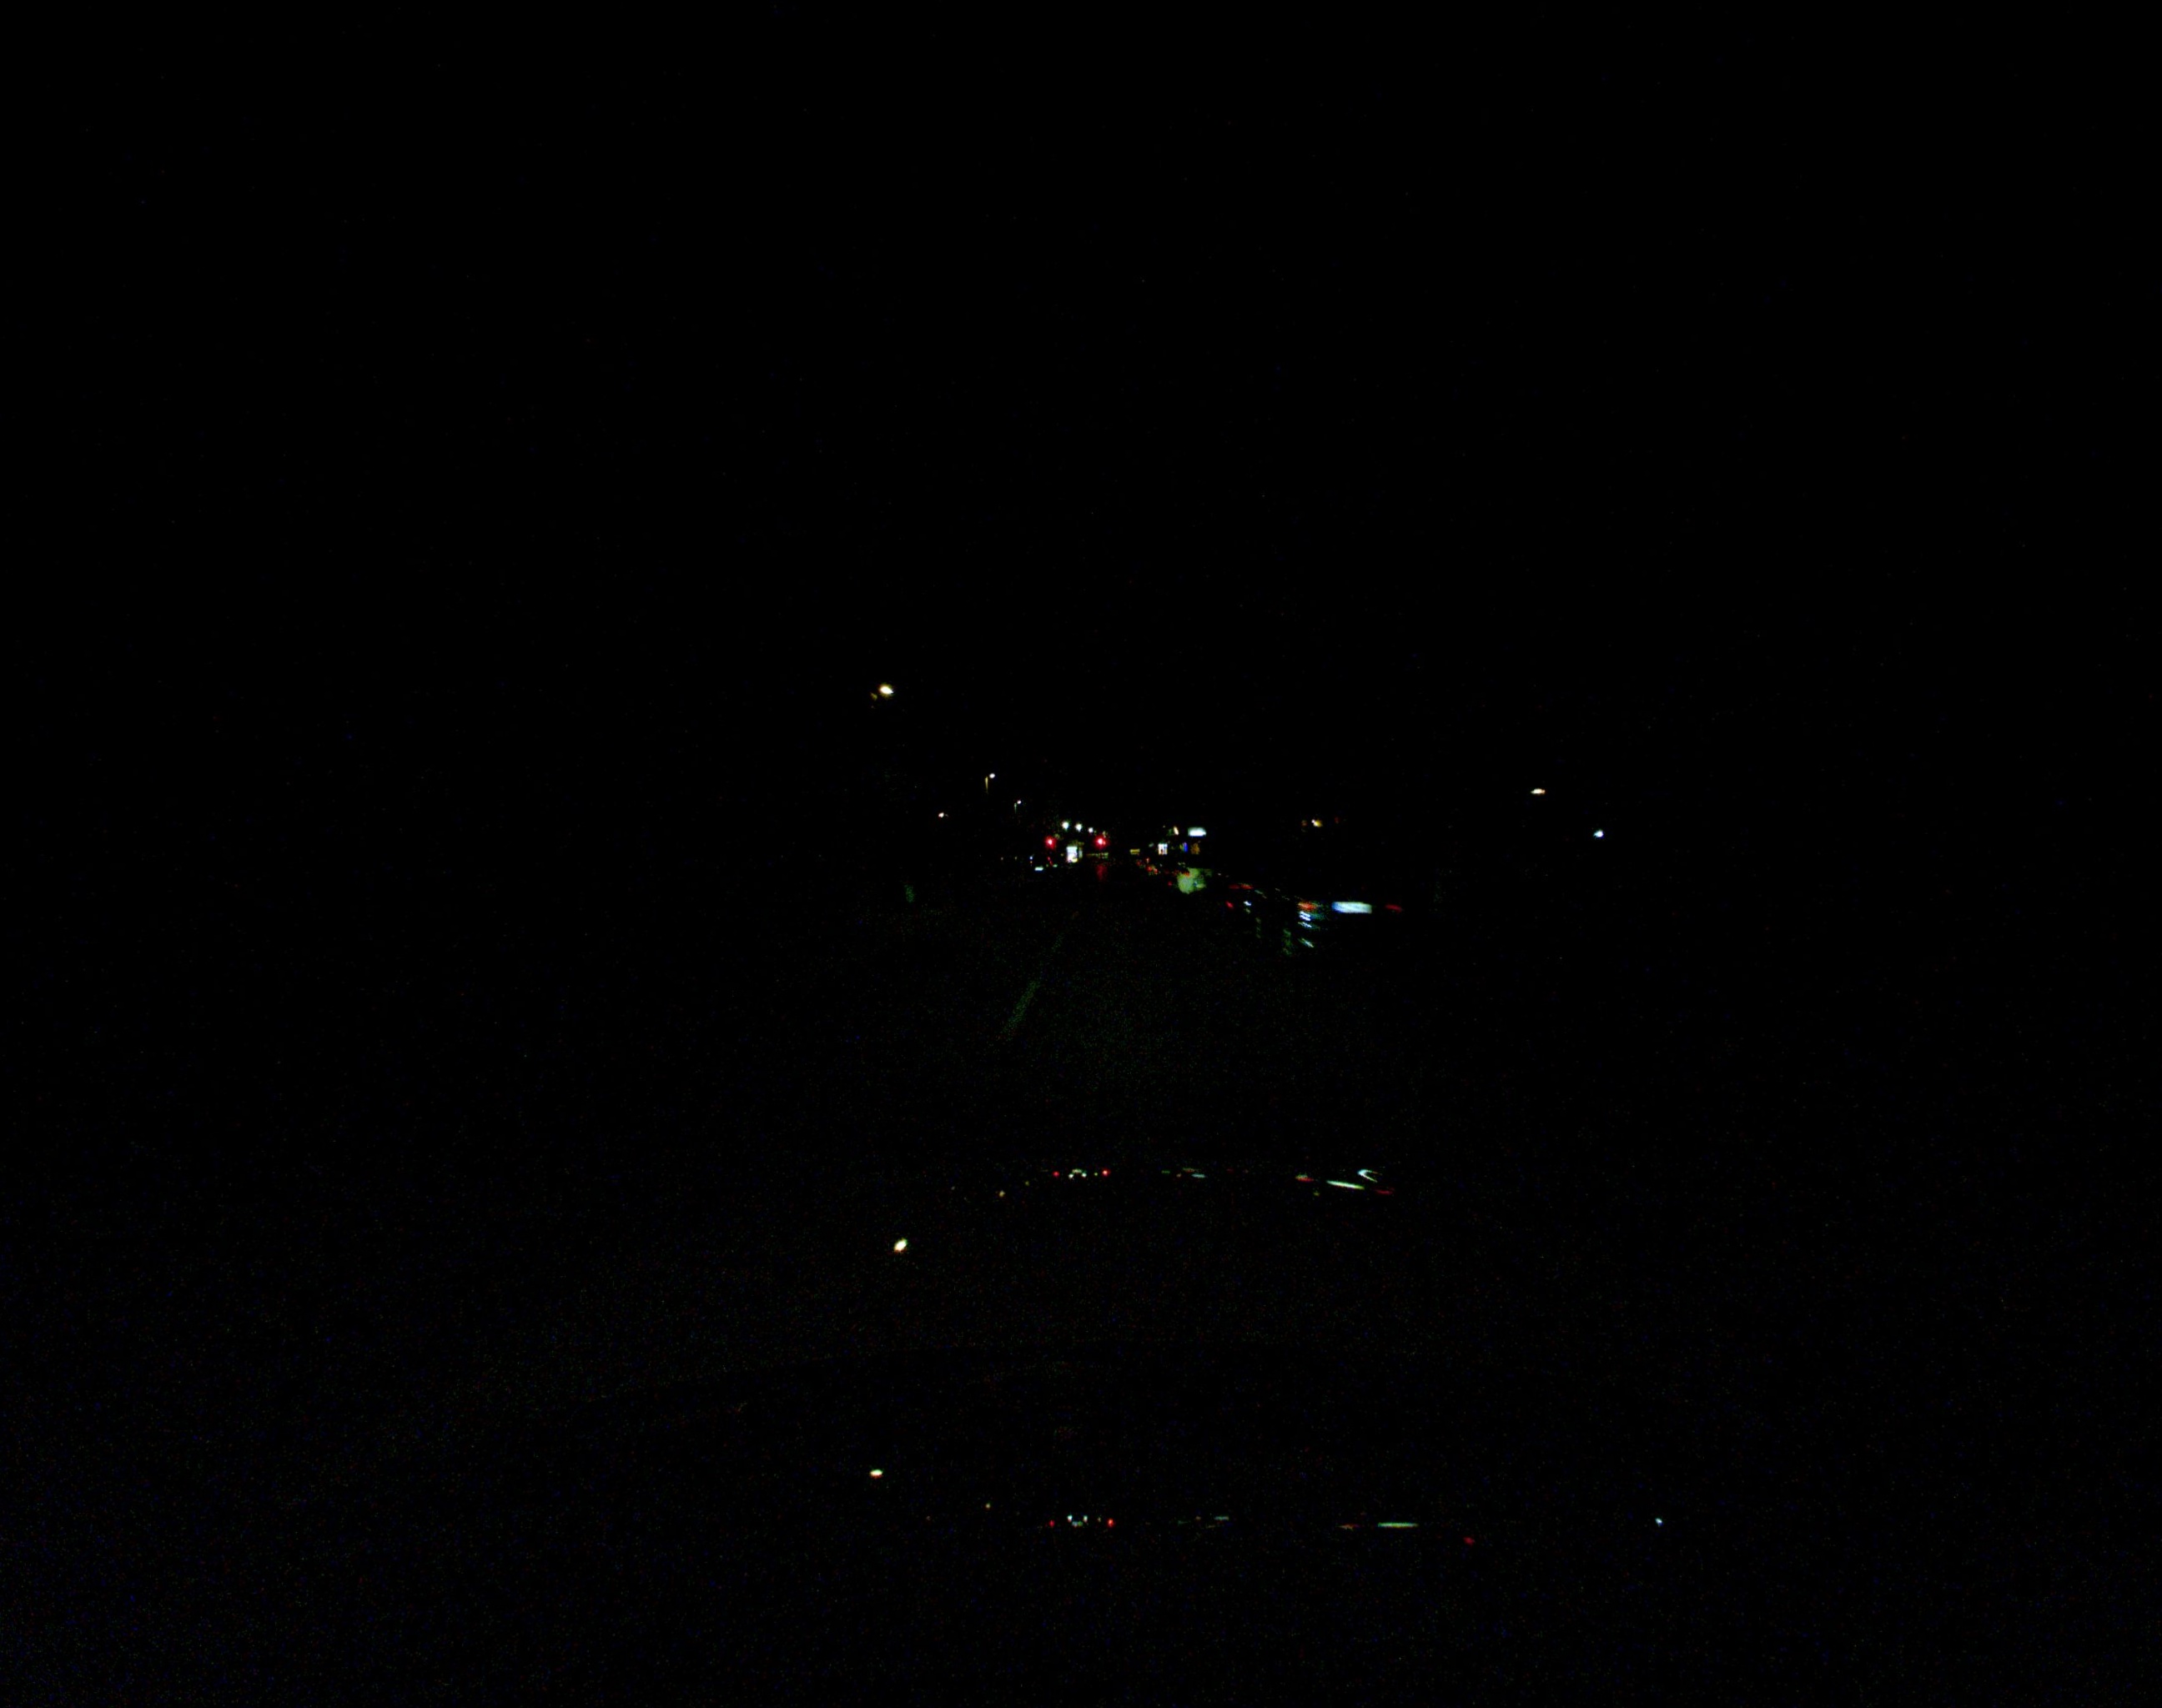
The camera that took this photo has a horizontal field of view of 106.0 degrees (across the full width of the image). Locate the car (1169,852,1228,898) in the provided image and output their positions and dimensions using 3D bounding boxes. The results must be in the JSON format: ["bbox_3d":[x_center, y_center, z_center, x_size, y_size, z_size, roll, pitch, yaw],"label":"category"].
[{"bbox_3d":[4.005,0.682,28.225,1.632,1.466,3.778,0,0,2],"label":"car"}]

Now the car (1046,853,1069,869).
[{"bbox_3d":[-2.215,0.603,77.286,1.683,1.436,4.134,1,0,5],"label":"car"}]

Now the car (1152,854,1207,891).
[{"bbox_3d":[3.925,0.696,33.066,1.756,1.416,4.440,0,0,0],"label":"car"}]

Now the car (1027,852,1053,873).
[{"bbox_3d":[-2.999,0.635,60.073,1.685,1.524,3.692,0,-1,1],"label":"car"}]

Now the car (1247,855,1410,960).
[{"bbox_3d":[3.720,0.729,12.801,1.594,1.398,3.519,0,0,2],"label":"car"}]

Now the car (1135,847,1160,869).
[{"bbox_3d":[5.271,0.311,64.939,1.779,1.641,4.383,-3,0,3],"label":"car"}]

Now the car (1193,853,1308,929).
[{"bbox_3d":[3.579,0.720,17.916,1.671,1.447,3.999,-1,0,0],"label":"car"}]

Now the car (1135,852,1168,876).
[{"bbox_3d":[4.299,0.593,50.336,1.774,1.437,4.290,0,0,1],"label":"car"}]

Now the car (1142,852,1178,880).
[{"bbox_3d":[4.262,0.620,44.527,1.670,1.447,4.613,-1,0,2],"label":"car"}]
